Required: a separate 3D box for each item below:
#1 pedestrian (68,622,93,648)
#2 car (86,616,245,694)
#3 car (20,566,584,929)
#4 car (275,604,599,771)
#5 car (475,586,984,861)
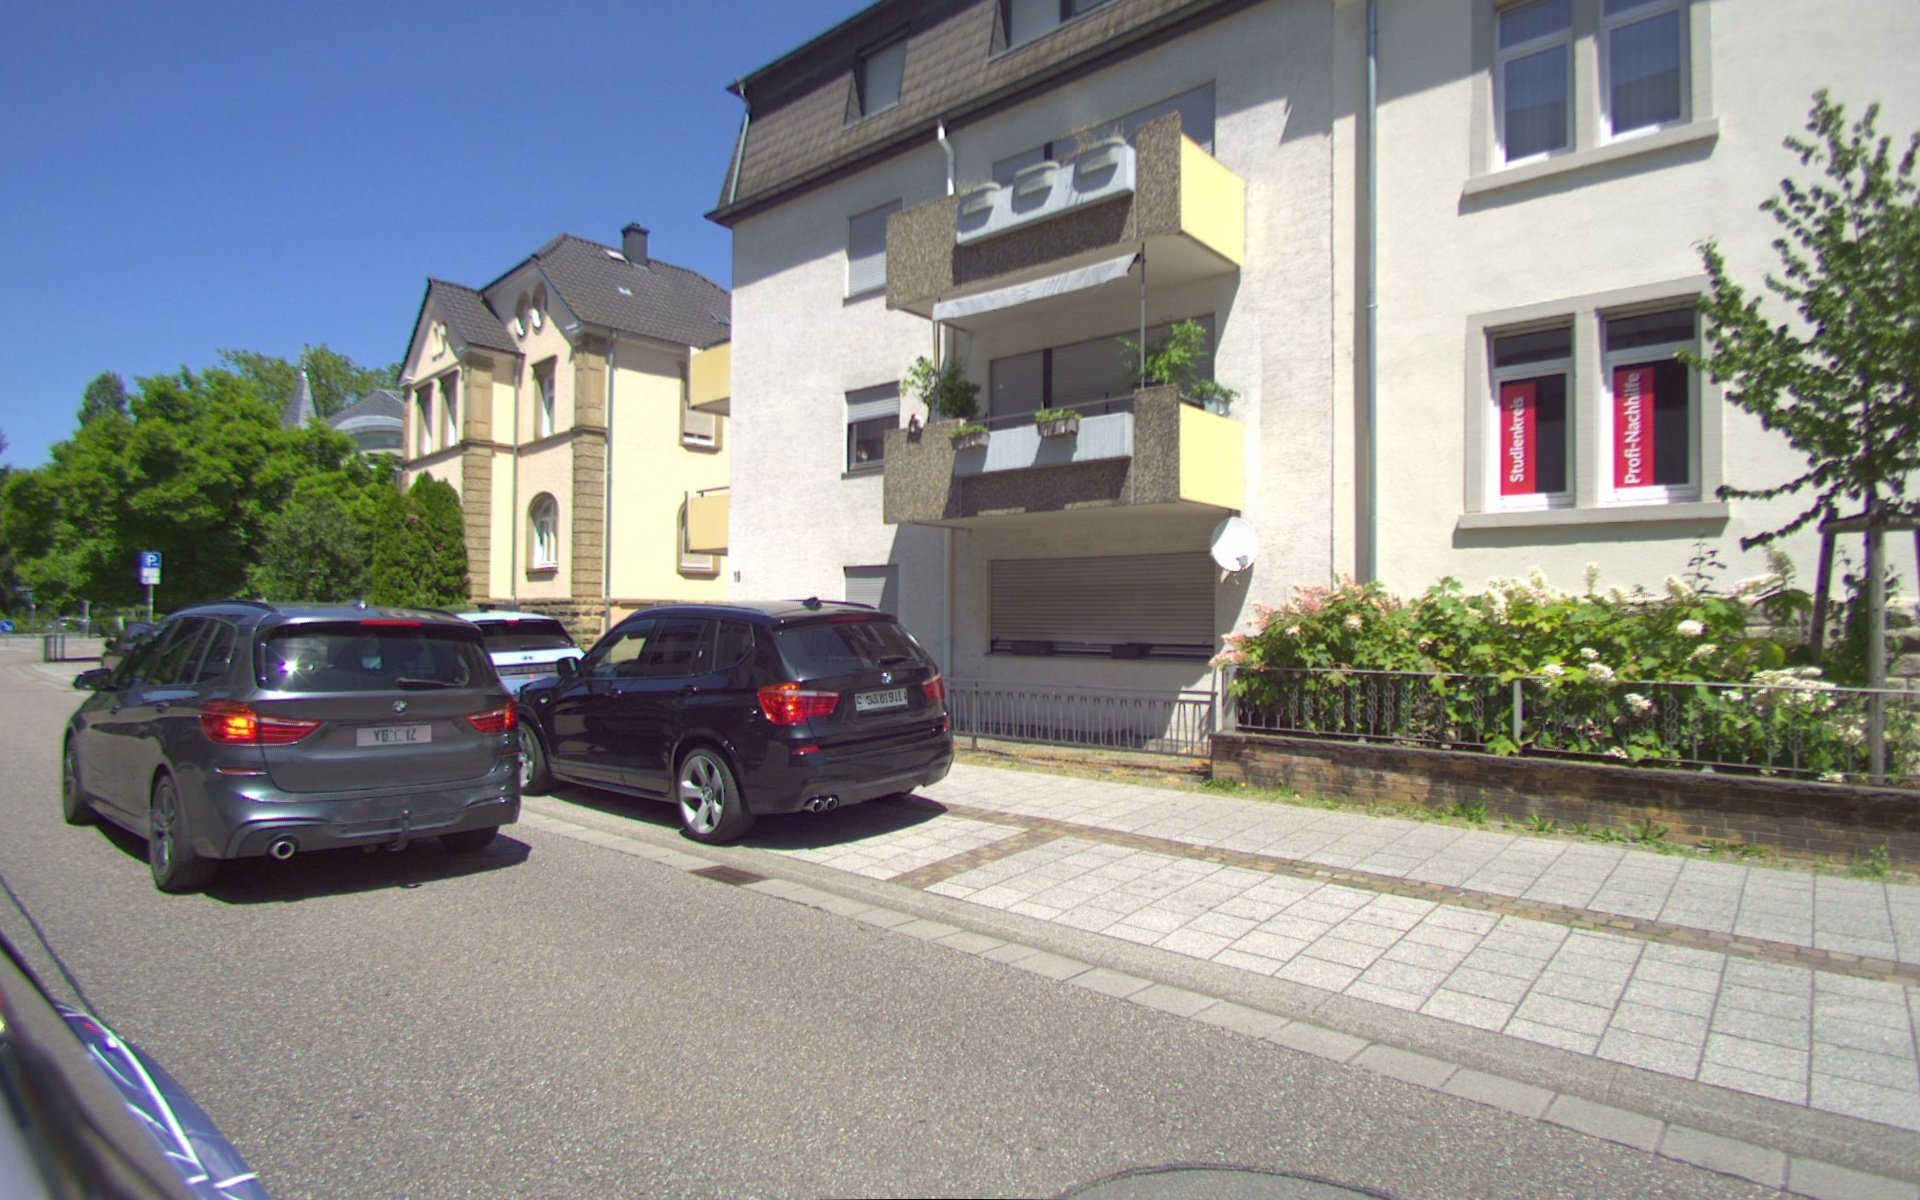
[{"bbox_3d":[-62.497,2.481,71.924,0.902,1.785,0.915,2,-2,1],"label":"pedestrian"},{"bbox_3d":[-17.213,1.113,21.842,4.657,1.447,1.905,-1,0,42],"label":"car"},{"bbox_3d":[-4.668,0.742,6.903,4.467,1.683,1.954,-1,-3,40],"label":"car"},{"bbox_3d":[-6.391,0.886,12.108,4.657,1.584,1.905,-1,0,42],"label":"car"},{"bbox_3d":[-2.104,0.767,8.274,4.569,1.631,1.707,-1,1,42],"label":"car"}]
